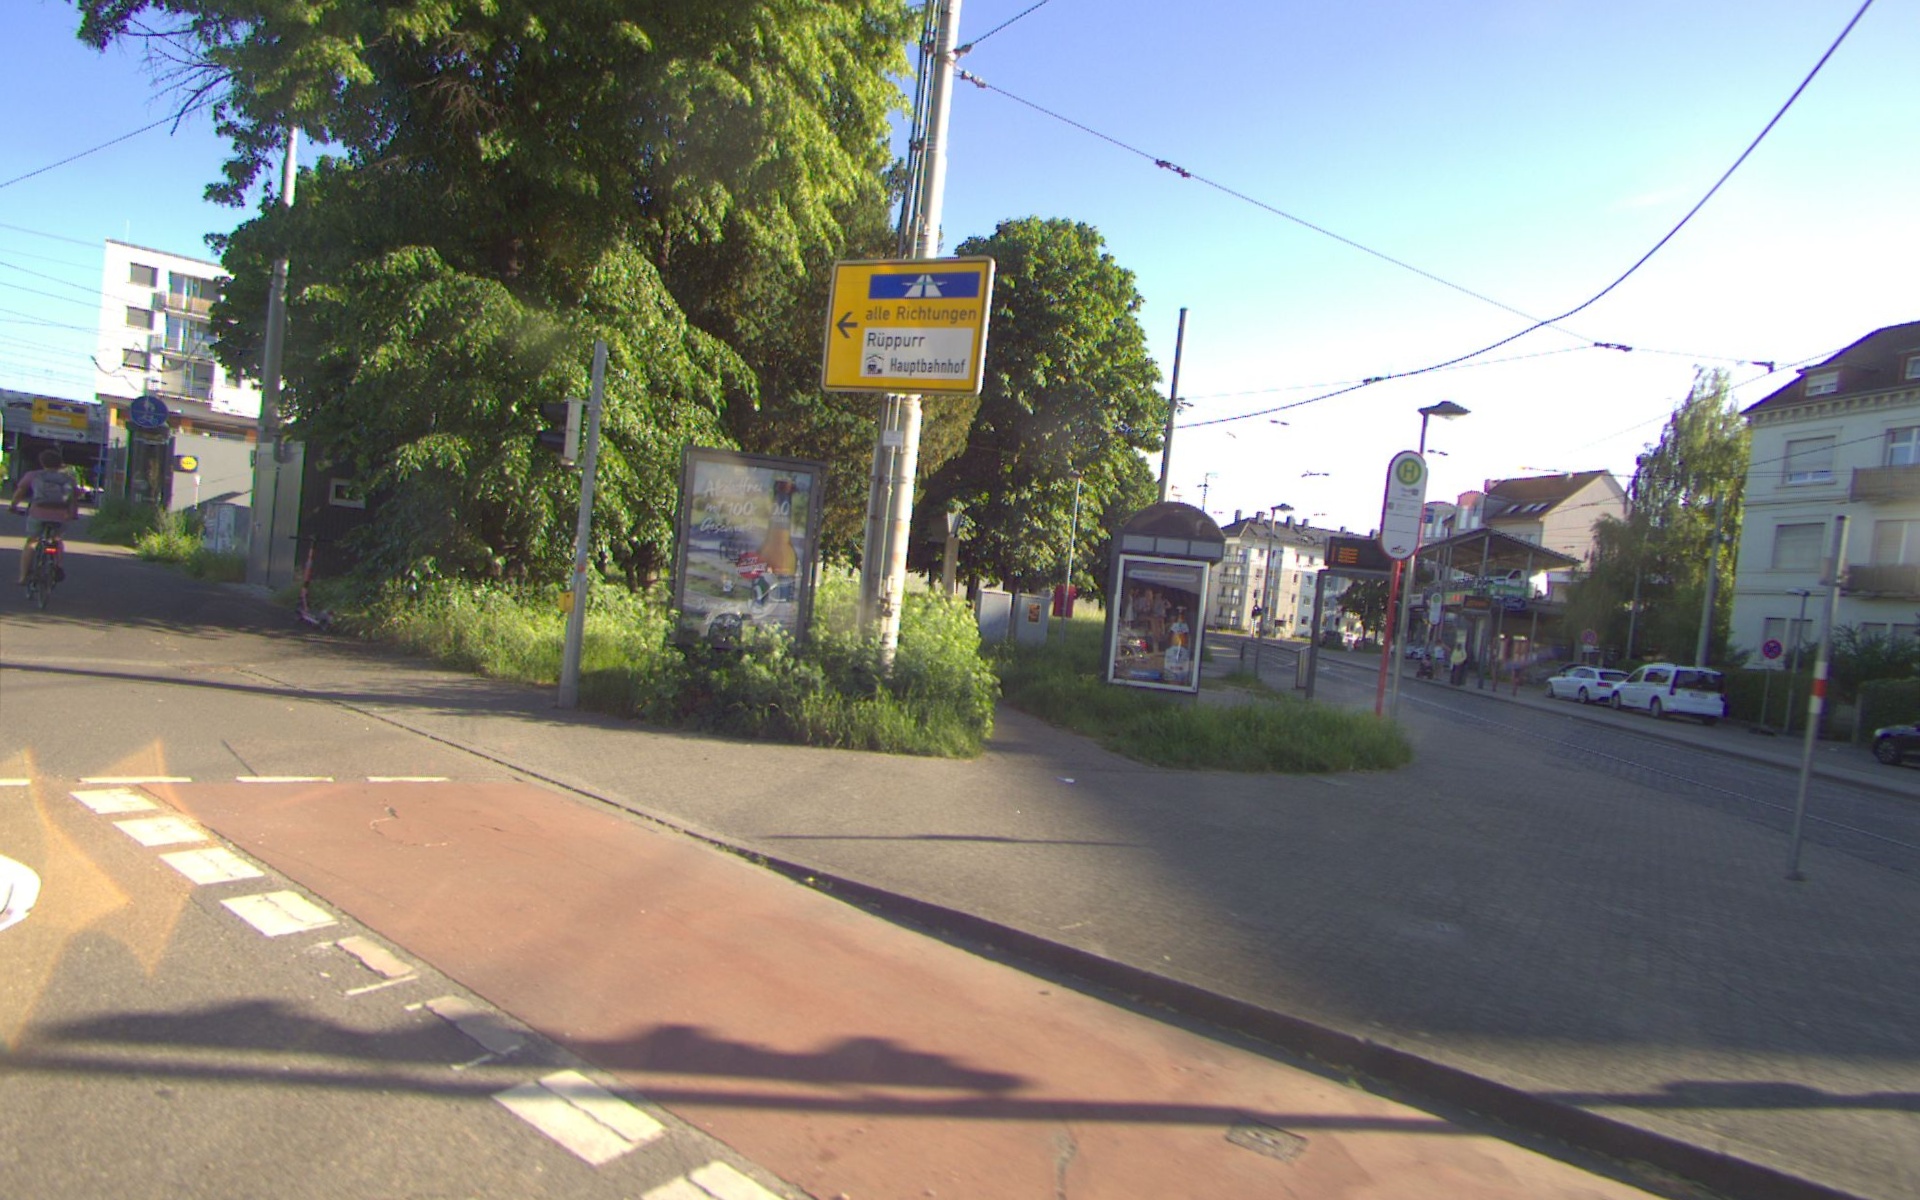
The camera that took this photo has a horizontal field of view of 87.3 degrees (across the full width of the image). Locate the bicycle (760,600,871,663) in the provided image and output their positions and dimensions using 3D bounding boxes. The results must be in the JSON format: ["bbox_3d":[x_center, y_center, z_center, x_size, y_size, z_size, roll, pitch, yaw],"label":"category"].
[{"bbox_3d":[-2.559,0.557,17.834,1.850,0.918,0.658,5,1,-10],"label":"bicycle"}]

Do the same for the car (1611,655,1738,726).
[{"bbox_3d":[24.305,3.033,34.405,1.771,1.952,3.940,5,0,8],"label":"car"}]

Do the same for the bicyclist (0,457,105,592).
[{"bbox_3d":[-11.398,-0.934,12.525,1.348,1.529,0.839,6,1,38],"label":"bicyclist"}]

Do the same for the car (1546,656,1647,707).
[{"bbox_3d":[25.001,3.176,39.664,1.771,1.560,3.940,5,0,8],"label":"car"}]

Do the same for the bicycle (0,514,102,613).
[{"bbox_3d":[-11.397,-0.479,12.499,2.051,1.073,0.666,6,1,38],"label":"bicycle"}]

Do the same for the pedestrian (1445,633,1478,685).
[{"bbox_3d":[18.520,2.160,37.155,0.667,1.816,0.995,5,1,9],"label":"pedestrian"}]

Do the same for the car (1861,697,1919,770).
[{"bbox_3d":[22.377,3.134,22.077,1.772,1.495,3.940,5,0,5],"label":"car"}]
